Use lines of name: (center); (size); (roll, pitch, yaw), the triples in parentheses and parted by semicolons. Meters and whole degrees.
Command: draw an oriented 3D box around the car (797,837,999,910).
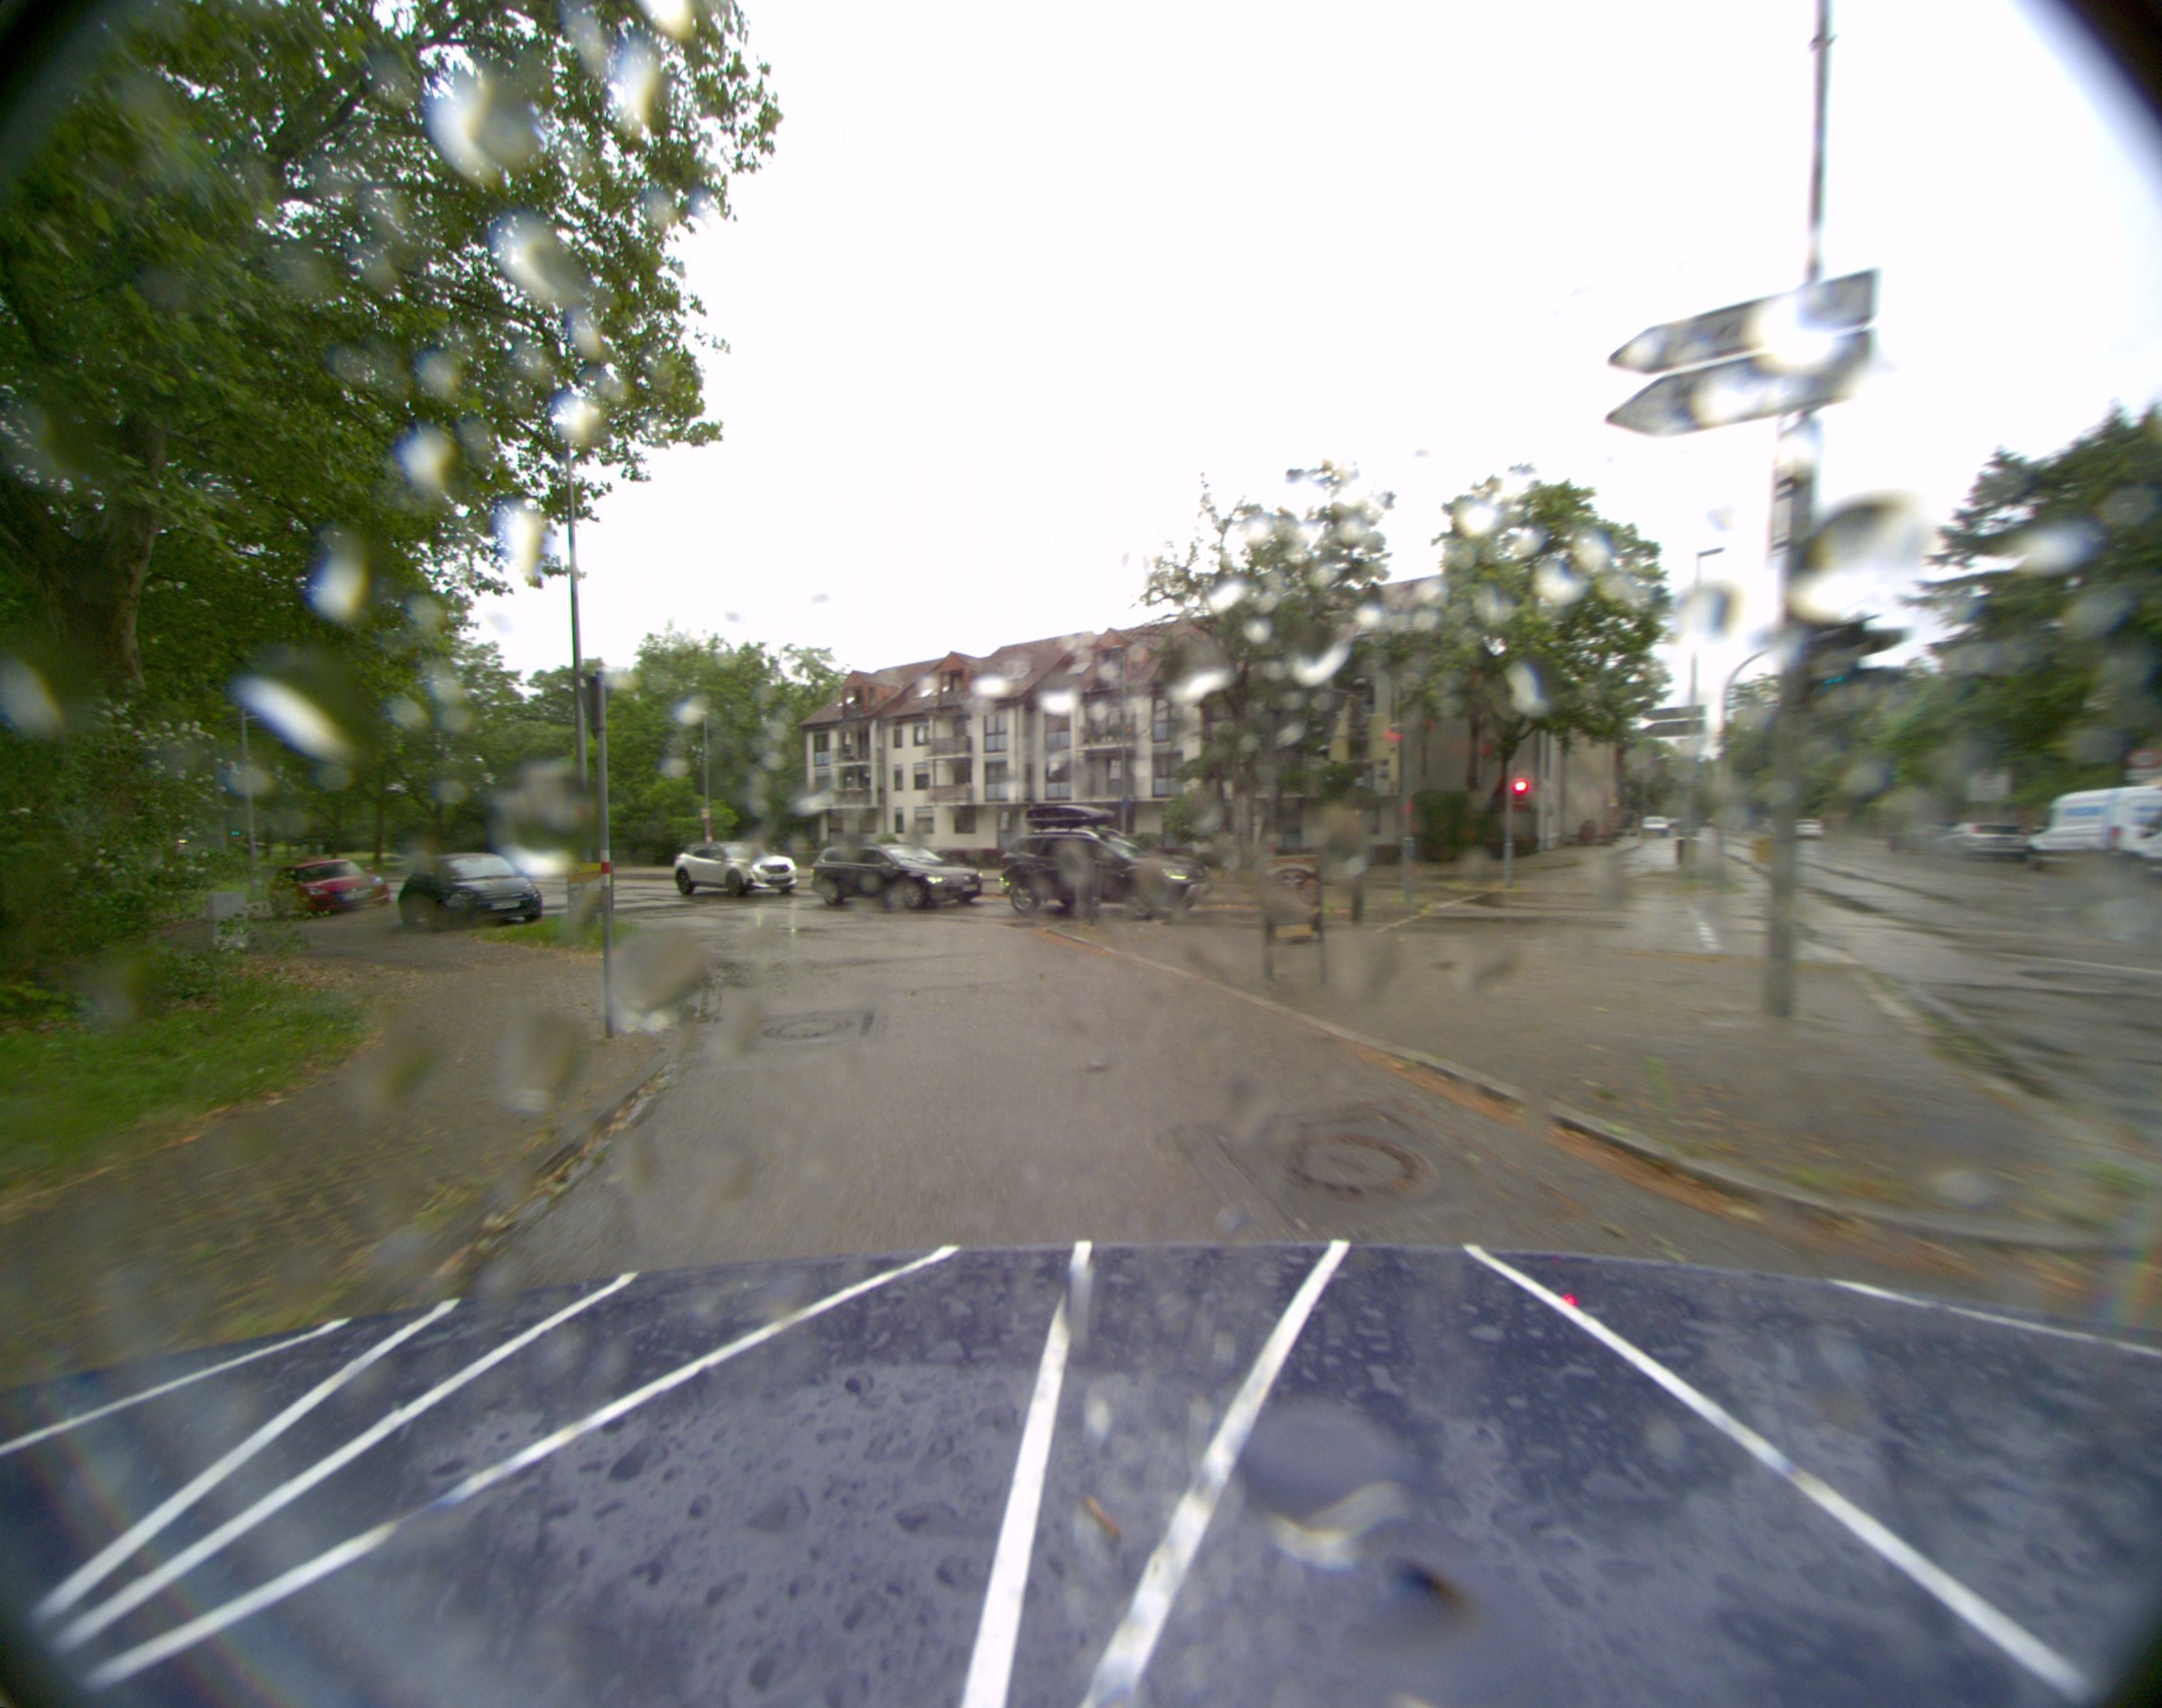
car: (-4.429, 0.447, 18.197); (4.646, 1.449, 1.840); (-1, 4, 31)

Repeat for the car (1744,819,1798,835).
car: (67.904, -2.658, 74.787); (3.869, 1.434, 1.821); (2, 3, 44)

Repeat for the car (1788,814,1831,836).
car: (55.372, -2.208, 57.830); (1.813, 1.637, 4.008); (2, 2, 36)

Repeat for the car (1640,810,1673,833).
car: (51.828, -2.894, 68.451); (2.077, 1.948, 4.457); (2, 2, 34)

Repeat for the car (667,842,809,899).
car: (-10.149, 0.434, 22.385); (4.355, 1.527, 1.761); (0, 2, 34)

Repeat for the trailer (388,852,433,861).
trailer: (-93.217, 0.288, 105.681); (2.375, 1.027, 4.339); (2, 3, 36)

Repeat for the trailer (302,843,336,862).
trailer: (-111.995, -0.276, 111.614); (6.631, 2.649, 2.813); (2, 2, 39)

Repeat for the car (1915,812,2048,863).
car: (36.188, -0.760, 30.747); (2.104, 1.844, 5.590); (2, 4, 36)

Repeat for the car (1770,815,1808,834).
car: (61.874, -2.562, 66.465); (1.922, 1.645, 4.008); (2, 2, 36)

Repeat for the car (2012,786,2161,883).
car: (29.633, -0.643, 21.727); (2.308, 2.481, 5.590); (2, 4, 36)

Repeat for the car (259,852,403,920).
car: (-21.208, 0.893, 21.476); (3.733, 1.511, 1.826); (-2, 9, 32)

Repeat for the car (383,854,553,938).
car: (-13.343, 0.821, 16.510); (3.589, 1.484, 1.757); (1, 5, 34)

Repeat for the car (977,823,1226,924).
car: (0.330, 0.335, 15.042); (4.588, 1.702, 1.769); (-1, 3, 32)

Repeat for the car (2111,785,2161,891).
car: (25.844, -0.319, 16.544); (2.308, 2.481, 5.688); (2, 4, 36)

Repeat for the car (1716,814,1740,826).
car: (89.020, -4.653, 104.538); (1.922, 1.642, 3.987); (2, 2, 32)

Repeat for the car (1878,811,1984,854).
car: (40.121, -1.111, 36.052); (2.104, 1.844, 5.590); (2, 4, 36)
